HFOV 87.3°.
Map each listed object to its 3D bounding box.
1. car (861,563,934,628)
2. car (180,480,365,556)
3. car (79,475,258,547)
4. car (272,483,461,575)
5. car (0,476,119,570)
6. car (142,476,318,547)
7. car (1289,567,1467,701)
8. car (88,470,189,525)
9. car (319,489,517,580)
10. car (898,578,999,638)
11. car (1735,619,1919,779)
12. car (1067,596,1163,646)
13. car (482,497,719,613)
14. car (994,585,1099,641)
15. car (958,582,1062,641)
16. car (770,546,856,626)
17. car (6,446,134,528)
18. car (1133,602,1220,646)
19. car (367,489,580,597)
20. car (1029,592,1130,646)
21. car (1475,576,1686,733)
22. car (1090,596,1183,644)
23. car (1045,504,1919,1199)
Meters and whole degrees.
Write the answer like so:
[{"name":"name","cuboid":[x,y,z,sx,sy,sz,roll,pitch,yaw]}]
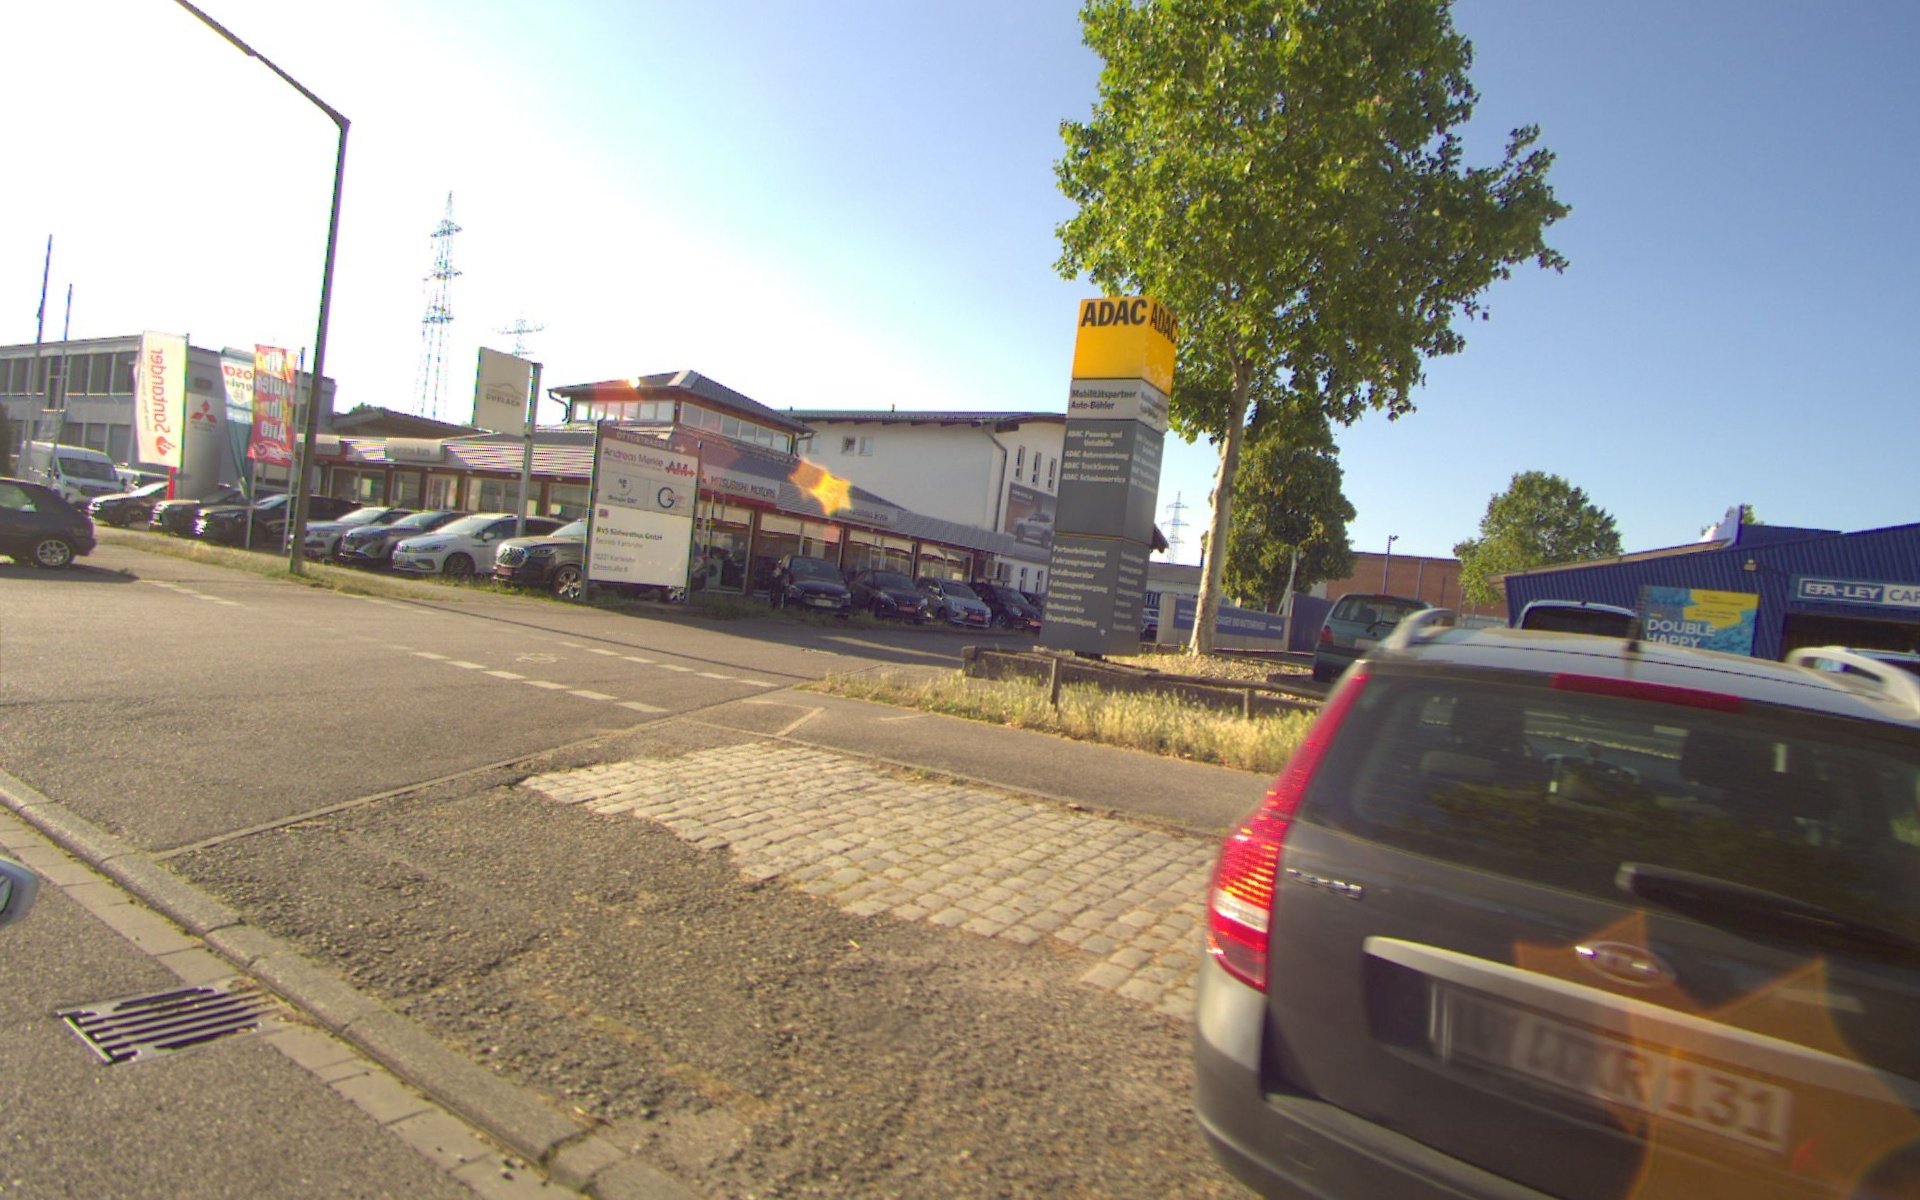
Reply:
[{"name":"car","cuboid":[-1.965,-0.108,30.728,1.708,1.652,3.573,7,-1,-9]},{"name":"car","cuboid":[-20.165,-2.378,29.644,1.967,1.719,3.987,7,2,32]},{"name":"car","cuboid":[-25.851,-2.879,32.989,1.967,1.795,4.145,7,2,32]},{"name":"car","cuboid":[-15.804,-1.859,26.968,1.757,1.921,3.907,5,-1,32]},{"name":"car","cuboid":[-15.447,-1.303,15.094,1.756,1.313,3.985,7,1,35]},{"name":"car","cuboid":[-22.835,-2.739,31.608,1.967,1.681,3.987,7,2,32]},{"name":"car","cuboid":[6.328,0.579,14.960,1.965,1.537,3.997,7,-1,28]},{"name":"car","cuboid":[-34.499,-4.295,42.234,3.934,1.820,1.996,6,-1,32]},{"name":"car","cuboid":[-13.715,-1.620,25.630,2.165,1.925,3.797,8,4,32]},{"name":"car","cuboid":[-0.431,0.227,33.080,1.719,1.652,3.411,7,-1,-30]},{"name":"car","cuboid":[10.782,1.215,11.760,1.919,1.537,3.997,7,-1,28]},{"name":"car","cuboid":[6.763,0.890,44.245,1.979,1.759,3.968,8,-1,-31]},{"name":"car","cuboid":[-7.908,-0.934,22.595,2.165,1.921,4.503,6,-1,31]},{"name":"car","cuboid":[3.296,0.474,39.106,1.979,1.759,3.968,8,-1,-31]},{"name":"car","cuboid":[1.723,0.373,36.151,1.975,1.758,3.977,7,-1,-25]},{"name":"car","cuboid":[-3.972,-0.333,27.267,1.966,1.758,3.995,7,-1,-8]},{"name":"car","cuboid":[-35.285,-4.500,39.814,6.036,2.657,1.996,6,-1,32]},{"name":"car","cuboid":[10.918,1.210,51.023,1.979,1.759,3.968,8,-1,-31]},{"name":"car","cuboid":[-11.669,-1.318,24.372,2.165,1.922,3.938,10,1,32]},{"name":"car","cuboid":[4.871,0.757,41.520,1.979,1.759,3.968,8,-1,-31]},{"name":"car","cuboid":[8.193,0.764,13.639,1.965,1.614,3.997,7,-1,28]},{"name":"car","cuboid":[8.155,0.909,46.819,1.979,1.759,3.968,8,-1,-31]},{"name":"car","cuboid":[2.264,0.732,3.561,1.967,1.635,4.599,6,3,31]}]
